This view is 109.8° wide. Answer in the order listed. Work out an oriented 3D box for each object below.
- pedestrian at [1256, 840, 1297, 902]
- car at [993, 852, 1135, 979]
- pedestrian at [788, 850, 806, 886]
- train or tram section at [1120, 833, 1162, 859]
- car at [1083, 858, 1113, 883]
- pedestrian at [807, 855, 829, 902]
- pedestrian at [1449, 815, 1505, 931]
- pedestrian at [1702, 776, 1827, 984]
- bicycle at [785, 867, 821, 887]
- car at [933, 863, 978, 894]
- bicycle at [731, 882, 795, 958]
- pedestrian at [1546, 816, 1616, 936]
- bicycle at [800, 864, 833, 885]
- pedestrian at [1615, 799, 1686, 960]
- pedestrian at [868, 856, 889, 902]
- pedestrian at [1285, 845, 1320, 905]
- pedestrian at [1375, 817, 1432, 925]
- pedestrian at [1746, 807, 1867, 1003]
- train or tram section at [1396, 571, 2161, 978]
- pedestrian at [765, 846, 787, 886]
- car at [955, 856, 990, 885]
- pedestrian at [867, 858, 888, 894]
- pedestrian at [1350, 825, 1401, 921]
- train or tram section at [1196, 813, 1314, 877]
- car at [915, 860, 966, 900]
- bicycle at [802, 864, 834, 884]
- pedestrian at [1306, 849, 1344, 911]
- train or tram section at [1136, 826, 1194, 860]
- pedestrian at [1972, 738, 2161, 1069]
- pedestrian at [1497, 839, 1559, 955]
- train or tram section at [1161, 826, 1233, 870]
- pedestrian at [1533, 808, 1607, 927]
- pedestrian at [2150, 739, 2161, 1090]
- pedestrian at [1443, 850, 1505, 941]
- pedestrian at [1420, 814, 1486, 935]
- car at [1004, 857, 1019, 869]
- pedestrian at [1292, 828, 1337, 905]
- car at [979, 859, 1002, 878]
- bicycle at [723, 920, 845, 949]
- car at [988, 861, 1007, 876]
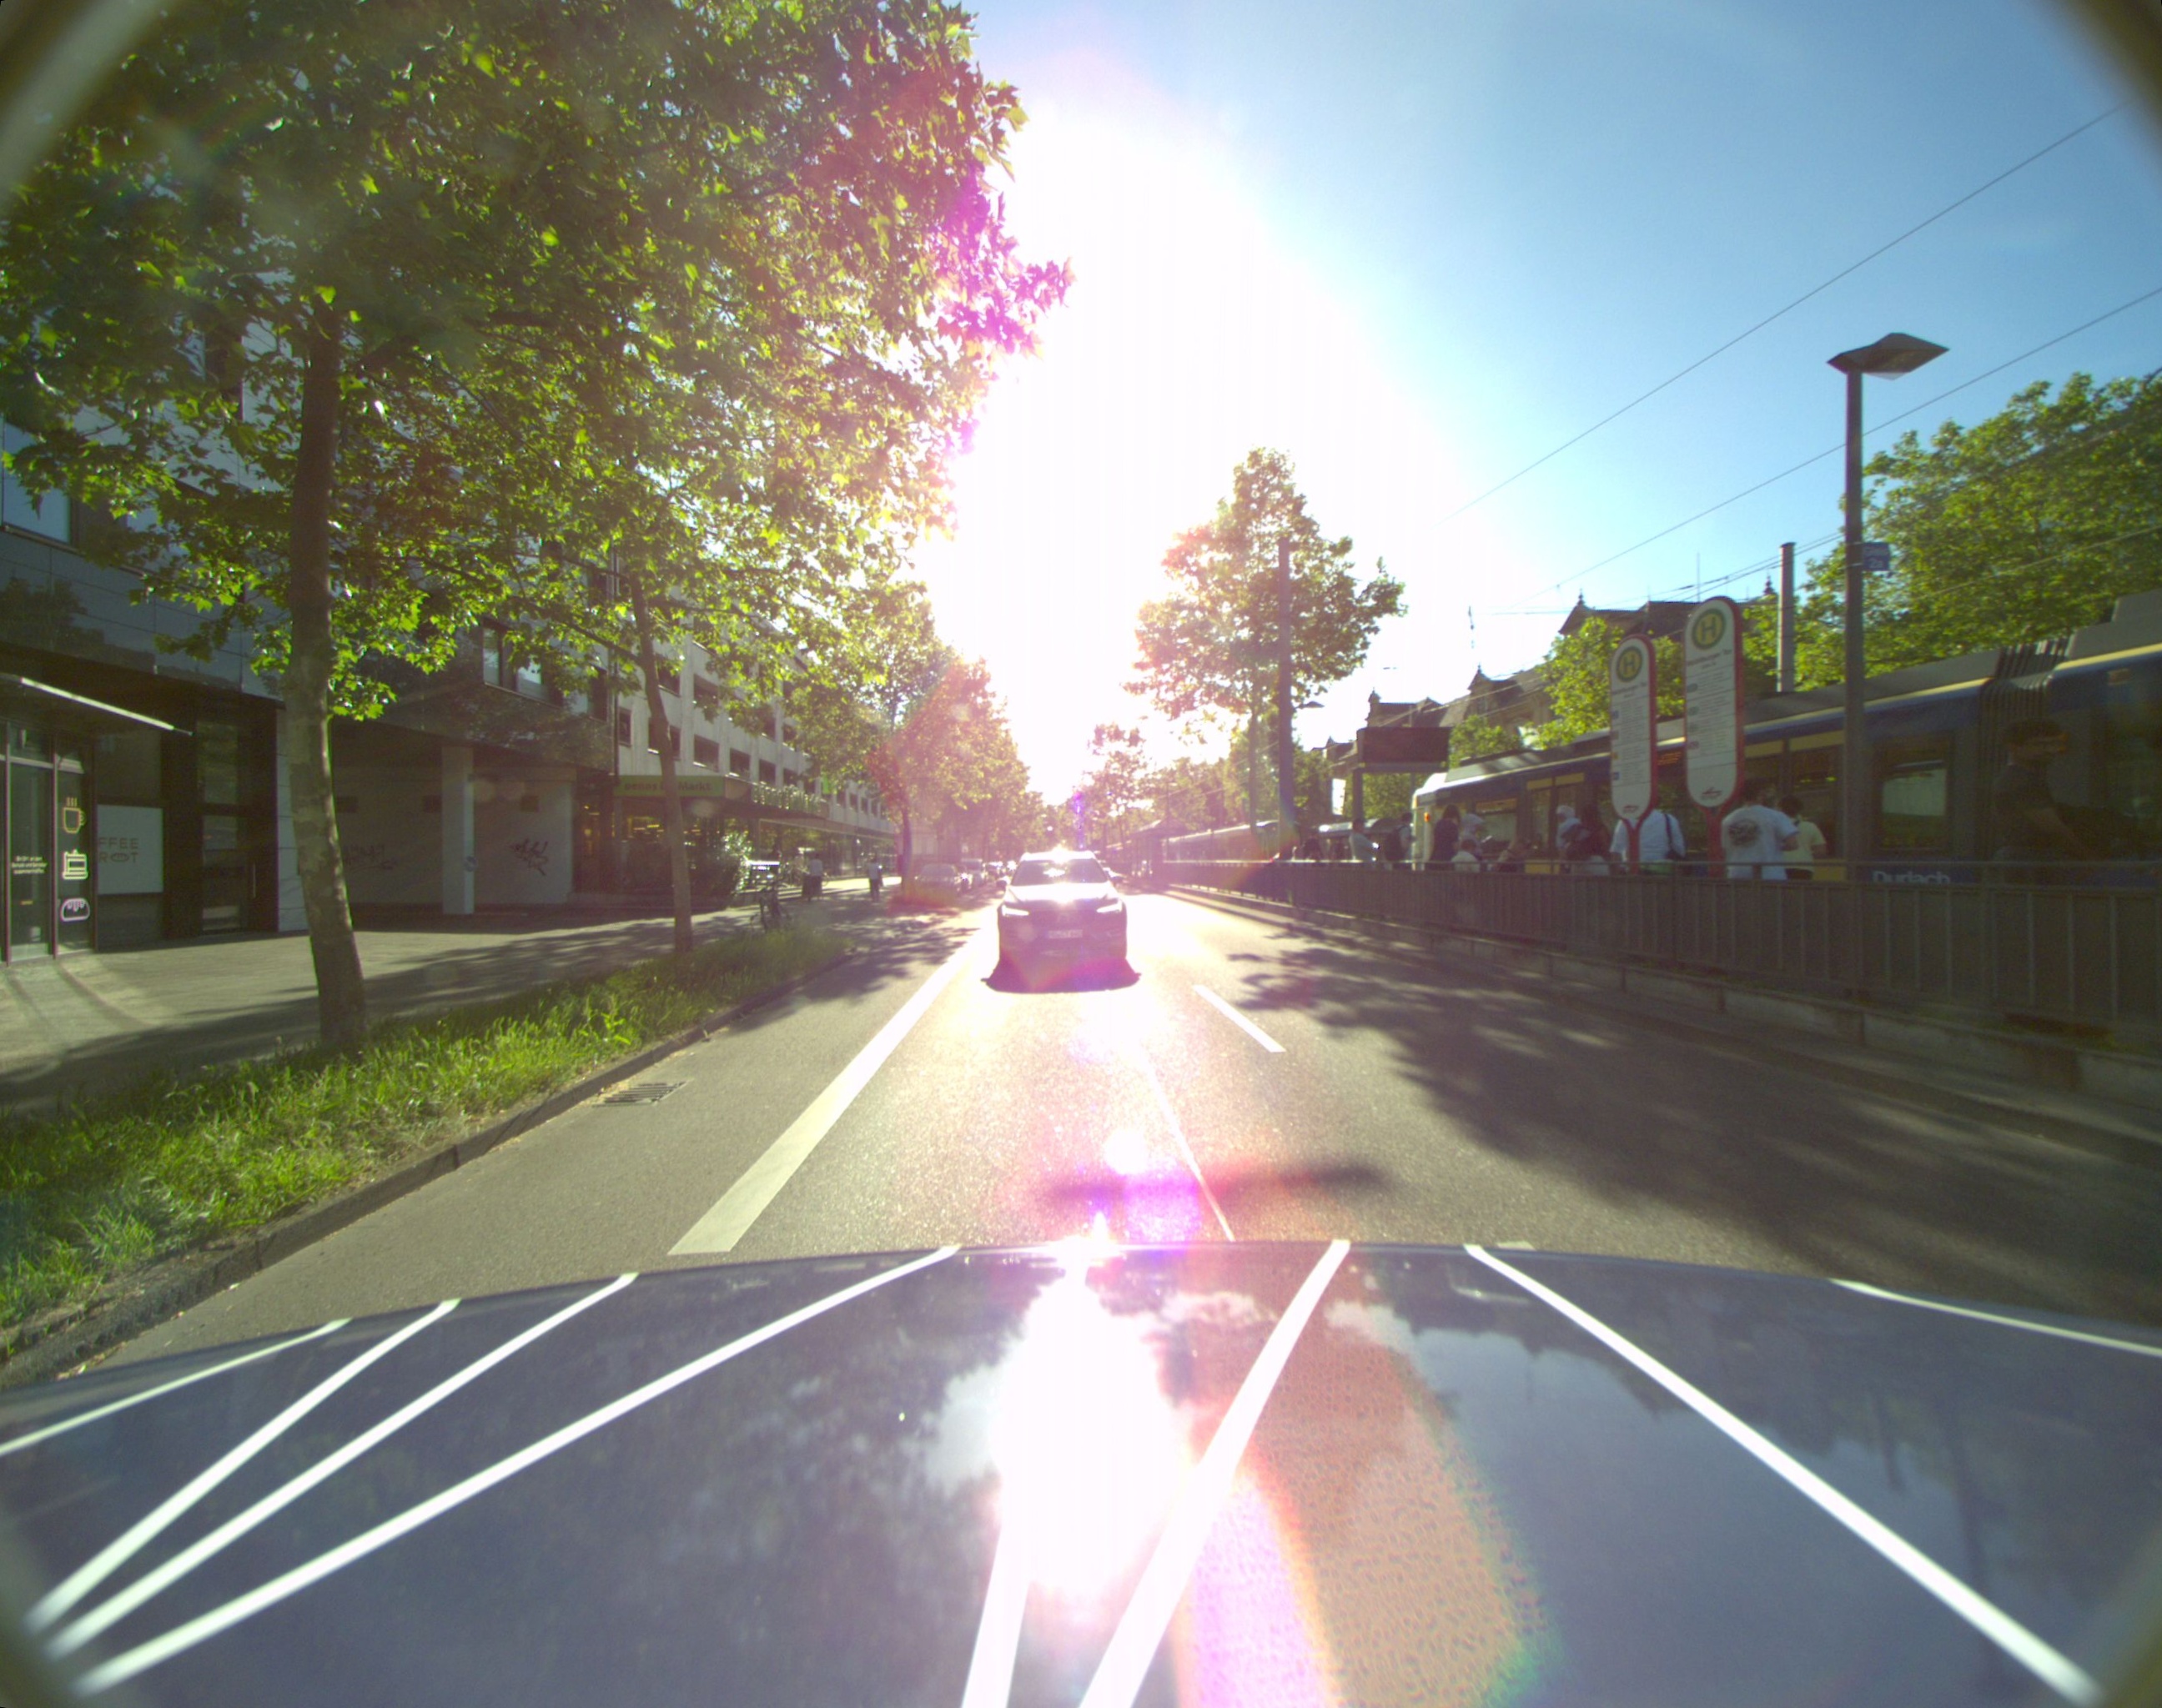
[{"bbox_3d":[4.887,0.419,19.031,0.778,1.501,0.751,0,0,-6],"label":"pedestrian"},{"bbox_3d":[-0.334,0.832,12.618,1.914,1.695,4.272,-2,0,-3],"label":"car"},{"bbox_3d":[-14.223,0.695,38.079,0.614,1.705,0.611,6,-1,-27],"label":"pedestrian"},{"bbox_3d":[6.194,-0.768,80.713,2.570,2.516,15.068,-1,0,-3],"label":"train or tram section"},{"bbox_3d":[1.021,1.009,47.750,1.707,1.407,3.875,-2,0,-1],"label":"car"},{"bbox_3d":[-9.856,0.891,28.505,0.561,1.734,0.878,0,0,-3],"label":"pedestrian"},{"bbox_3d":[5.981,0.281,11.501,0.516,1.698,0.621,0,0,-3],"label":"pedestrian"},{"bbox_3d":[5.832,0.213,6.505,0.507,1.692,0.611,0,0,-7],"label":"pedestrian"},{"bbox_3d":[-13.559,1.100,37.069,1.648,0.910,0.587,1,-2,24],"label":"bicycle"},{"bbox_3d":[-6.377,1.196,39.134,1.766,1.409,4.699,-1,0,-3],"label":"car"},{"bbox_3d":[-5.434,1.089,13.088,0.791,1.126,1.844,0,0,-15],"label":"bicycle"},{"bbox_3d":[6.472,0.273,9.848,0.546,1.510,0.530,0,0,-3],"label":"pedestrian"},{"bbox_3d":[-14.192,1.105,40.746,1.700,1.049,0.587,1,-1,24],"label":"bicycle"},{"bbox_3d":[6.233,0.270,8.339,0.506,1.692,0.612,0,0,25],"label":"pedestrian"},{"bbox_3d":[-7.667,0.935,28.755,0.561,1.694,1.051,0,0,-3],"label":"pedestrian"},{"bbox_3d":[4.852,0.455,16.663,0.535,1.291,0.604,0,0,-6],"label":"pedestrian"},{"bbox_3d":[5.157,0.269,12.171,0.662,1.686,0.571,0,0,-2],"label":"pedestrian"},{"bbox_3d":[6.800,0.460,7.146,0.555,1.760,0.611,0,0,-7],"label":"pedestrian"},{"bbox_3d":[9.810,-0.761,11.211,2.922,3.241,15.886,-3,1,-3],"label":"train or tram section"},{"bbox_3d":[-12.921,0.509,32.176,0.559,1.668,0.882,2,0,-3],"label":"pedestrian"},{"bbox_3d":[-6.946,1.009,49.048,1.769,1.781,4.392,0,0,-2],"label":"car"},{"bbox_3d":[-9.203,0.994,34.424,0.699,1.603,0.868,1,0,-1],"label":"pedestrian"},{"bbox_3d":[5.110,0.328,13.220,0.662,1.624,0.571,0,0,-2],"label":"pedestrian"},{"bbox_3d":[10.926,-0.480,50.741,2.857,3.414,18.210,-2,0,-3],"label":"train or tram section"},{"bbox_3d":[-5.928,1.066,32.499,1.569,1.541,3.999,-1,0,-2],"label":"car"},{"bbox_3d":[-14.424,1.103,41.714,1.700,1.049,0.587,2,0,24],"label":"bicycle"},{"bbox_3d":[4.995,0.524,15.582,0.535,1.239,0.604,0,0,-5],"label":"pedestrian"},{"bbox_3d":[6.910,-0.793,65.353,2.570,2.549,15.670,-1,0,-3],"label":"train or tram section"},{"bbox_3d":[5.570,0.258,4.251,0.549,1.724,0.539,0,0,-7],"label":"pedestrian"},{"bbox_3d":[5.188,0.481,8.835,0.417,1.308,0.507,0,0,-5],"label":"pedestrian"},{"bbox_3d":[10.116,-0.435,68.981,2.879,3.414,18.271,-2,0,-3],"label":"train or tram section"},{"bbox_3d":[6.931,0.181,10.790,0.620,1.640,0.622,0,0,-7],"label":"pedestrian"},{"bbox_3d":[5.419,0.295,3.432,0.538,1.724,0.551,0,1,37],"label":"pedestrian"},{"bbox_3d":[5.270,0.539,10.198,0.546,1.185,0.530,0,0,-3],"label":"pedestrian"},{"bbox_3d":[5.359,0.289,10.962,0.662,1.686,0.571,0,0,-2],"label":"pedestrian"},{"bbox_3d":[-9.669,1.274,106.149,1.839,1.556,4.272,-2,0,-3],"label":"car"},{"bbox_3d":[5.411,0.288,17.615,0.778,1.742,0.723,0,0,-6],"label":"pedestrian"},{"bbox_3d":[-7.652,1.222,64.501,1.677,1.430,3.688,2,0,-4],"label":"car"},{"bbox_3d":[-5.132,1.397,13.282,1.613,0.351,1.388,0,0,-3],"label":"bicycle"},{"bbox_3d":[-8.183,1.432,74.902,1.630,1.433,3.929,1,0,-3],"label":"car"}]
